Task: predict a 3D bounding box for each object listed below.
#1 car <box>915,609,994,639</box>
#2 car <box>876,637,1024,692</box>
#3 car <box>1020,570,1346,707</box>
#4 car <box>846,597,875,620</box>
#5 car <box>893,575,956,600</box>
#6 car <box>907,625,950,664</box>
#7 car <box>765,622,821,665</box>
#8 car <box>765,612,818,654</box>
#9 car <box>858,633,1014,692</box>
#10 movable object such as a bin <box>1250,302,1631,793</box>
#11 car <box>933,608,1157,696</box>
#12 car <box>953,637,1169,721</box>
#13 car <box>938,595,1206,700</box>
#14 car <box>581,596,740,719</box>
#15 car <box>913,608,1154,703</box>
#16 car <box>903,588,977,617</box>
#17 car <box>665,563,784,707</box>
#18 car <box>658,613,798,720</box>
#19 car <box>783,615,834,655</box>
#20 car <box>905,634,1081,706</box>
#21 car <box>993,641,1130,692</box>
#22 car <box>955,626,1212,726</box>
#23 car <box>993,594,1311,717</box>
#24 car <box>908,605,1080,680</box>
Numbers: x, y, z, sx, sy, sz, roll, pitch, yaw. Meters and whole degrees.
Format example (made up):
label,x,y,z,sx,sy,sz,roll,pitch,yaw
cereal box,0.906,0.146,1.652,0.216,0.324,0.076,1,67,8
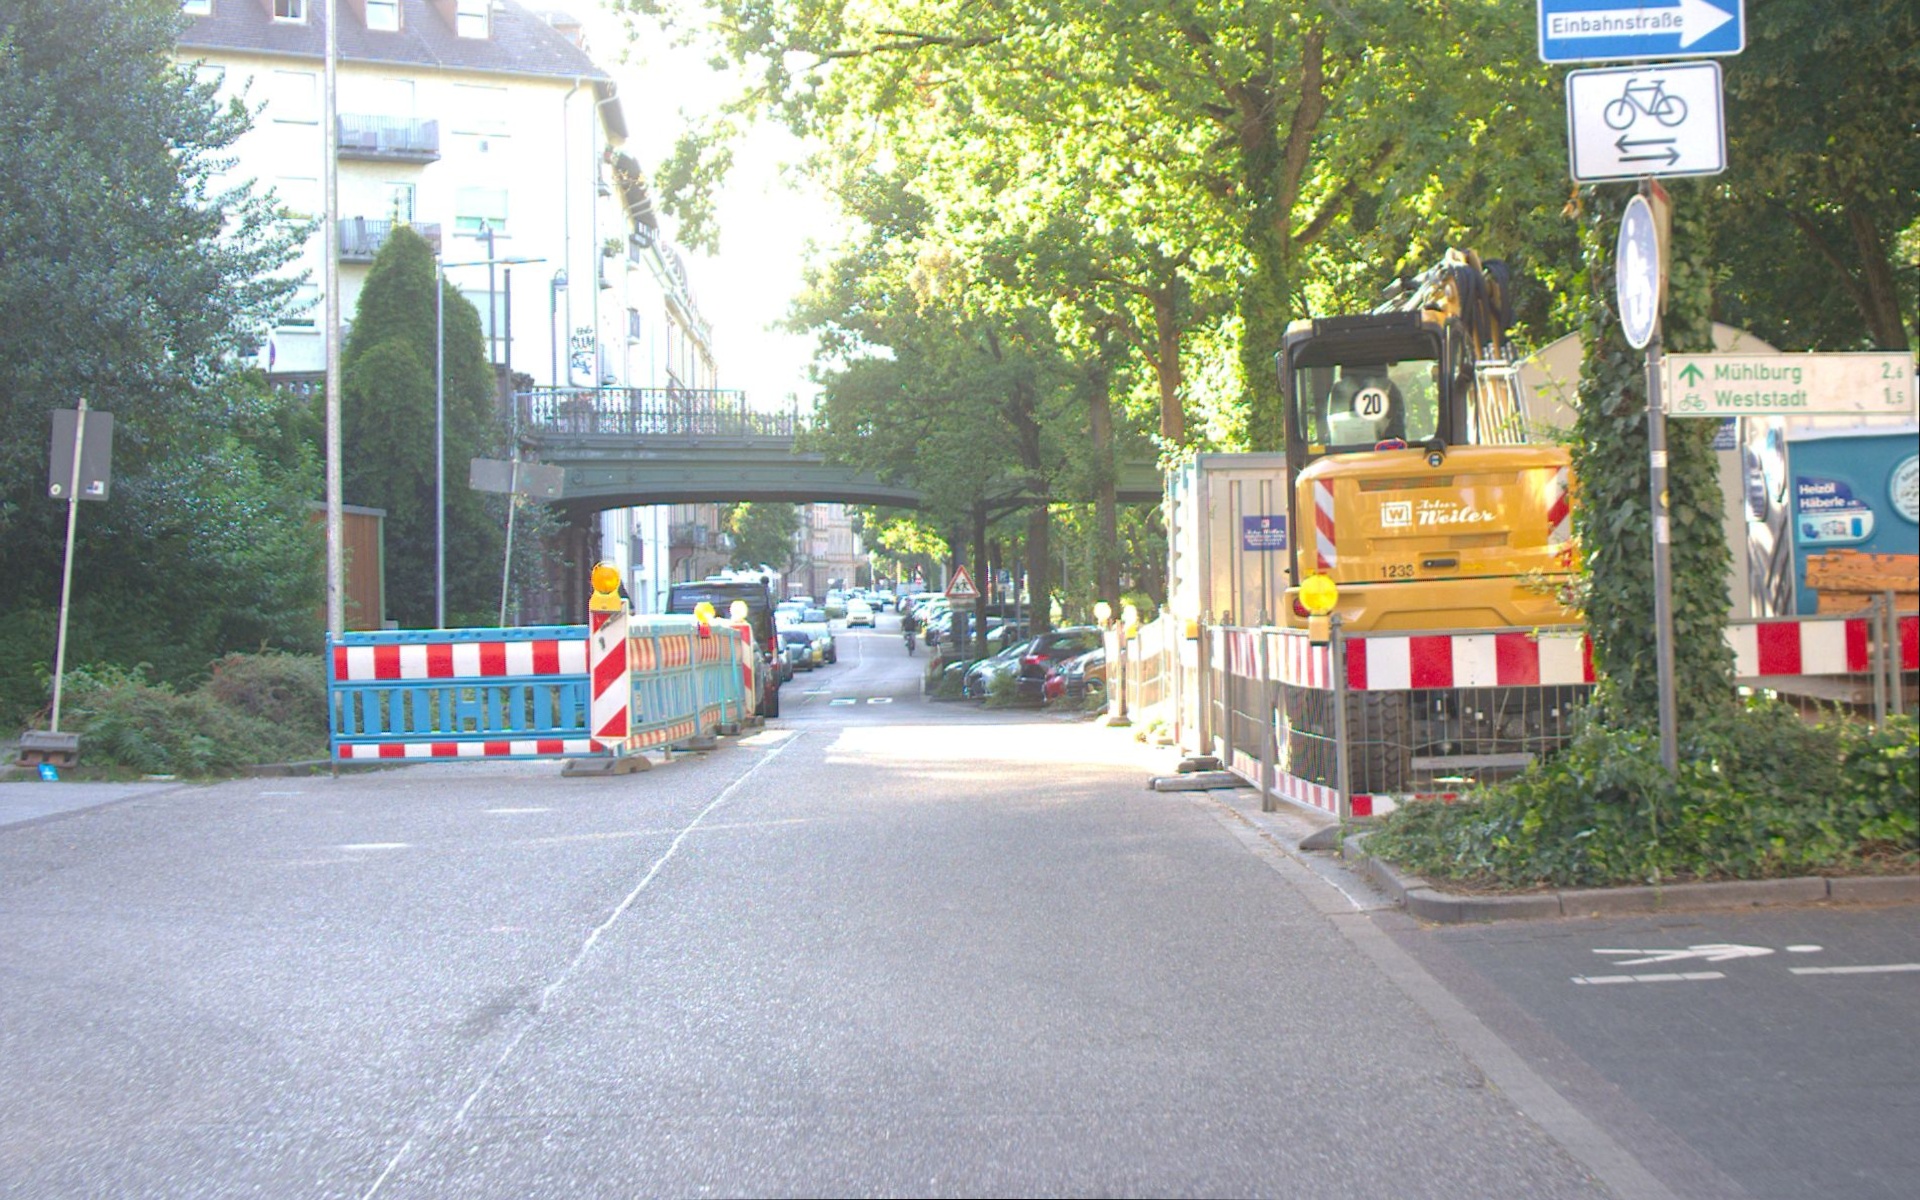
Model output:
label,x,y,z,sx,sy,sz,roll,pitch,yaw
car,-0.311,1.348,192.035,4.387,1.604,1.781,1,-2,0
car,-0.325,1.968,104.441,4.387,1.604,1.781,1,-2,-3
car,3.377,0.613,52.573,4.741,1.990,1.917,1,-2,-4
car,-6.507,0.566,224.390,1.812,1.393,3.975,-2,-1,-2
car,-2.491,-0.891,242.993,4.387,1.604,1.781,1,-2,0
car,-1.338,1.889,145.324,1.775,1.604,4.401,0,-1,-1
car,-5.822,1.540,120.298,1.812,1.393,3.975,-2,-1,-2
car,-6.123,1.204,125.136,1.812,1.393,3.975,-2,-1,-2
car,-0.712,1.802,98.959,4.387,1.604,1.781,1,-2,-3
movable object such as a bin,2.951,-0.304,20.594,1.995,2.690,3.108,0,1,13
car,1.700,1.064,69.791,4.387,1.696,1.917,1,-2,-3
car,2.107,1.673,72.457,4.387,1.696,1.917,1,-2,-3
car,1.874,0.824,58.480,4.387,1.696,1.917,1,-2,-3
car,-3.723,0.738,43.304,1.715,1.413,4.106,-2,-1,-2
car,1.356,1.058,64.794,4.387,1.696,1.917,1,-2,-3
car,-1.205,0.141,204.433,4.387,1.604,1.781,1,-2,0
car,-4.258,0.689,62.939,2.047,2.489,5.697,1,-2,-3
car,-3.267,0.916,49.145,1.812,1.435,4.350,1,0,-2
car,-5.705,1.338,129.958,1.812,1.393,3.975,-2,-1,-2
car,0.834,1.803,88.315,4.387,1.779,1.917,1,-2,-3
car,3.303,2.175,112.237,4.387,1.604,1.781,1,-2,0
car,2.161,1.368,60.950,4.387,1.696,1.917,1,-2,-3
car,2.736,0.819,49.564,4.387,1.696,1.917,1,-2,-3
car,0.879,1.127,90.241,4.387,1.855,1.917,1,-2,-3
